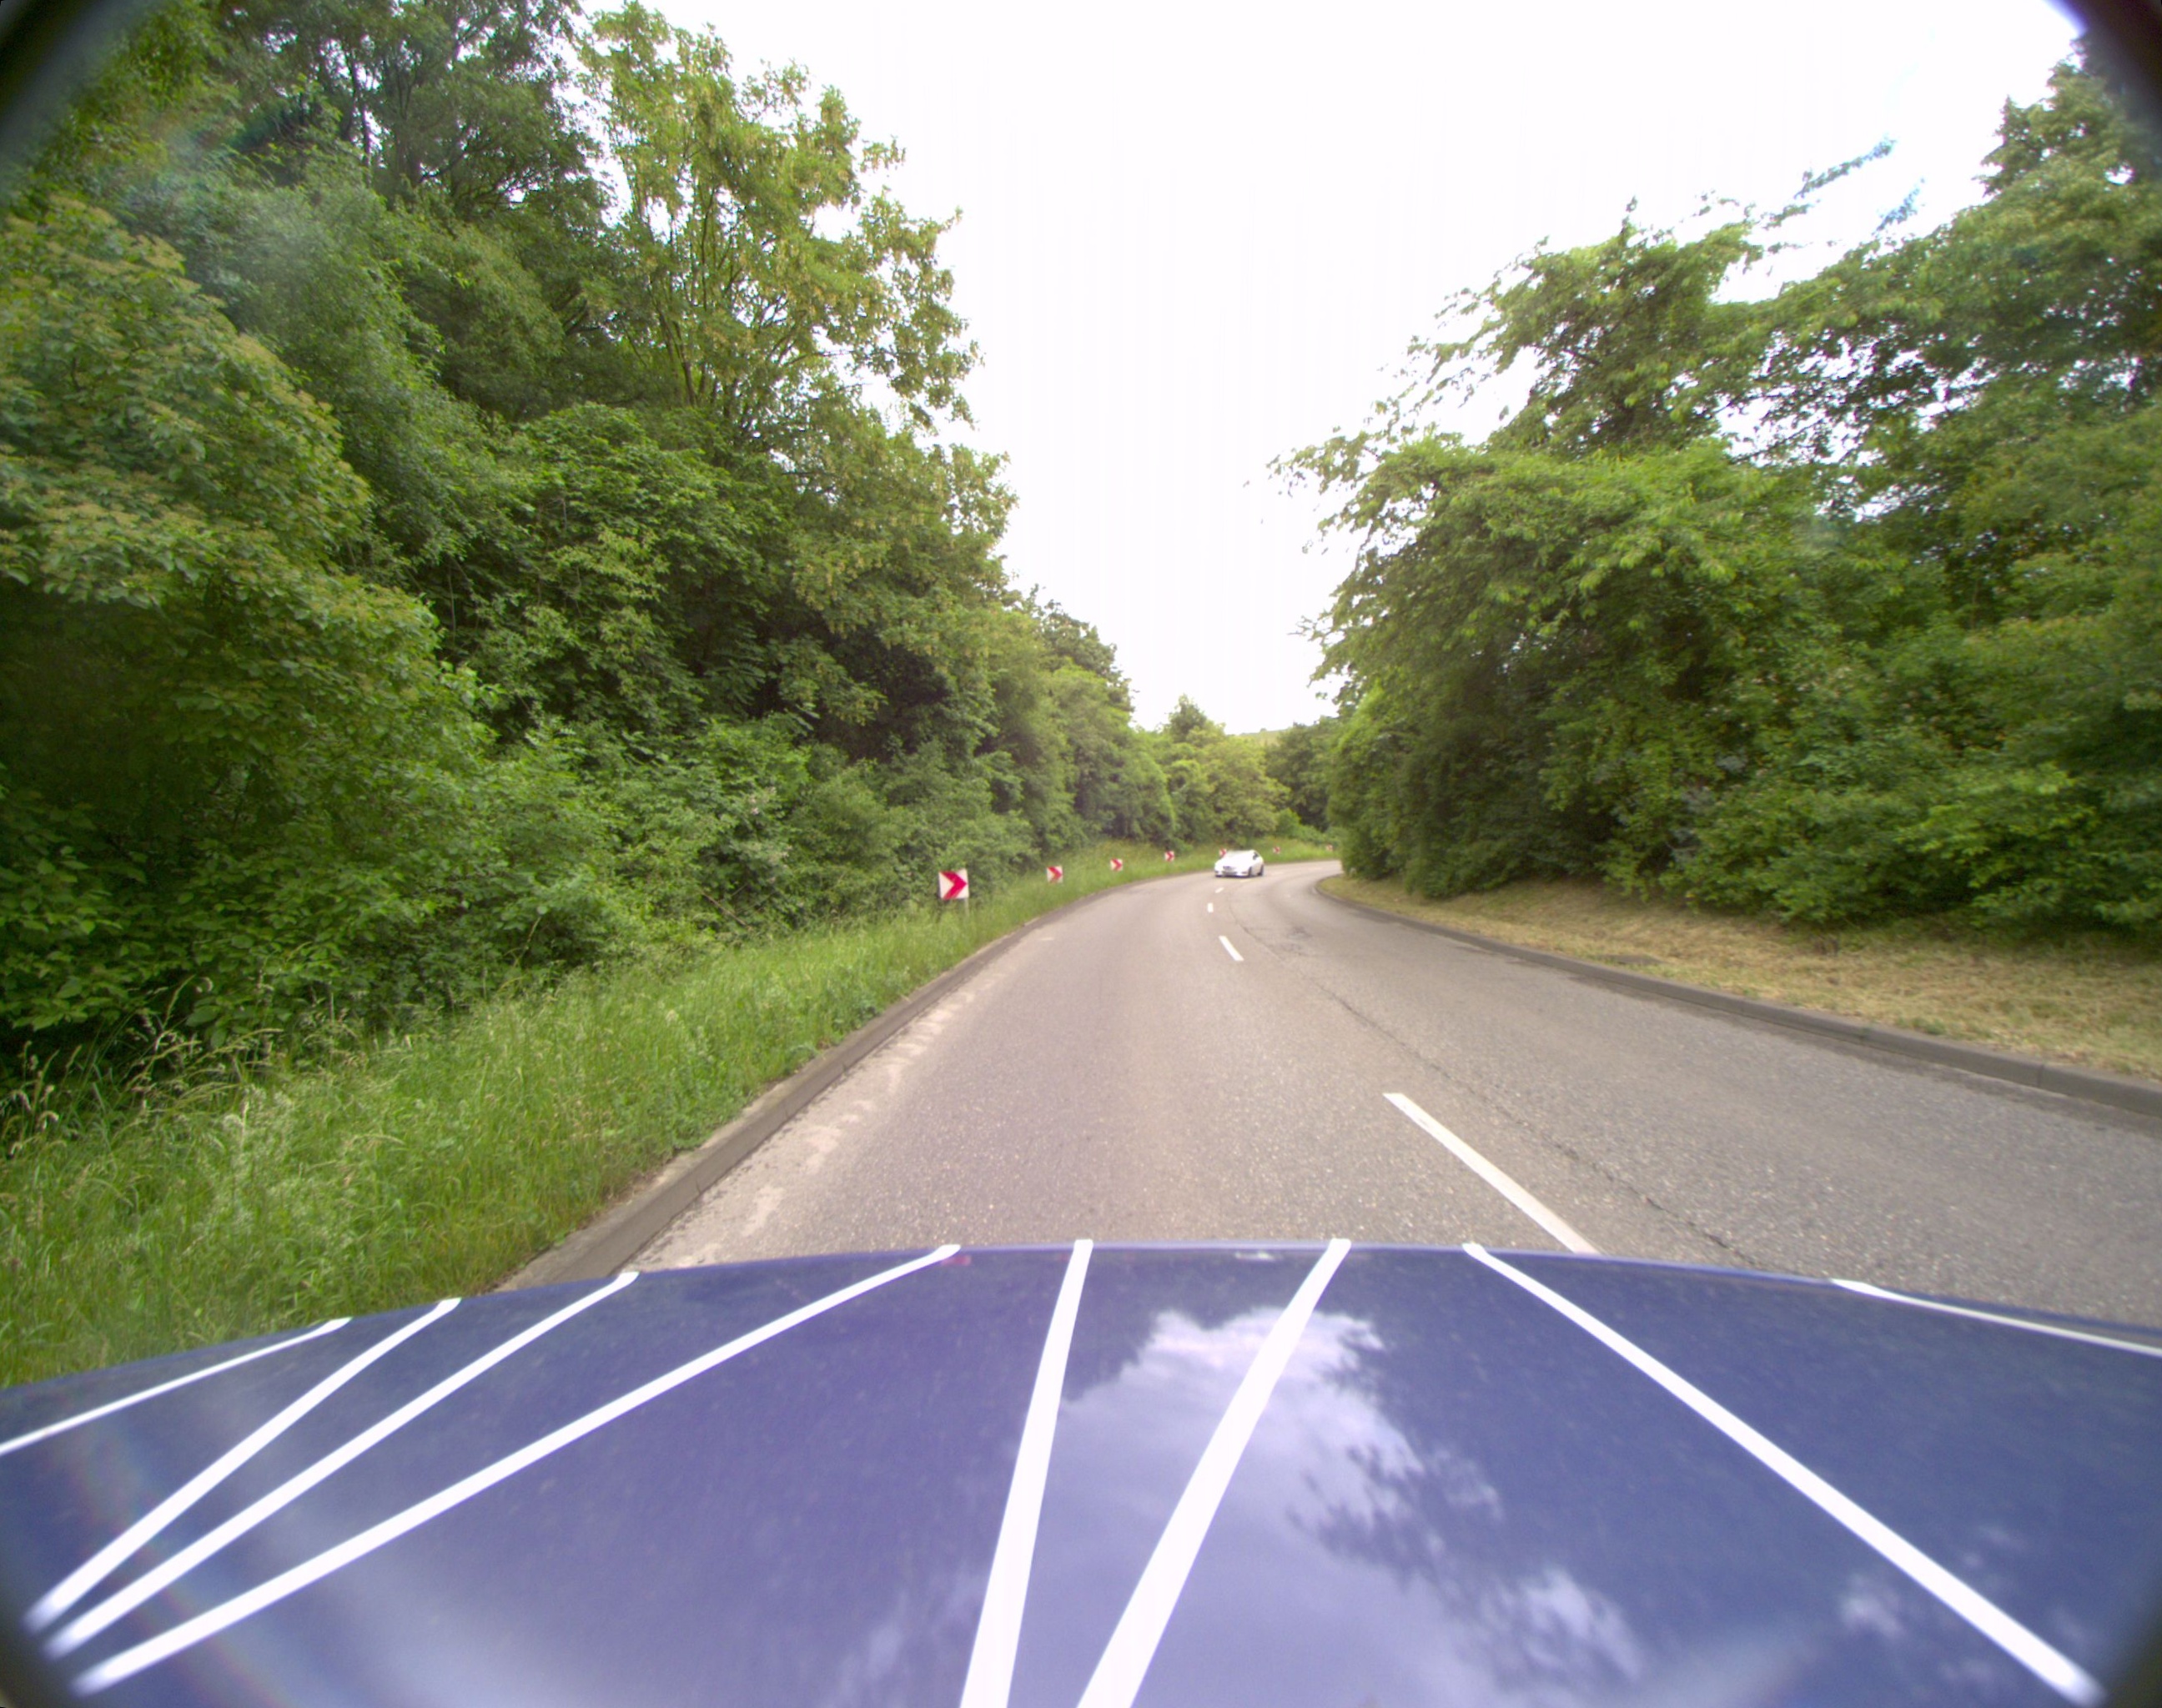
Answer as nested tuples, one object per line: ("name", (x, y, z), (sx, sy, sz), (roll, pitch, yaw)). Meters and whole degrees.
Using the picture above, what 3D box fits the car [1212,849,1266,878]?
("car", (8.715, 0.471, 41.657), (1.863, 1.423, 4.363), (1, 1, 25))
